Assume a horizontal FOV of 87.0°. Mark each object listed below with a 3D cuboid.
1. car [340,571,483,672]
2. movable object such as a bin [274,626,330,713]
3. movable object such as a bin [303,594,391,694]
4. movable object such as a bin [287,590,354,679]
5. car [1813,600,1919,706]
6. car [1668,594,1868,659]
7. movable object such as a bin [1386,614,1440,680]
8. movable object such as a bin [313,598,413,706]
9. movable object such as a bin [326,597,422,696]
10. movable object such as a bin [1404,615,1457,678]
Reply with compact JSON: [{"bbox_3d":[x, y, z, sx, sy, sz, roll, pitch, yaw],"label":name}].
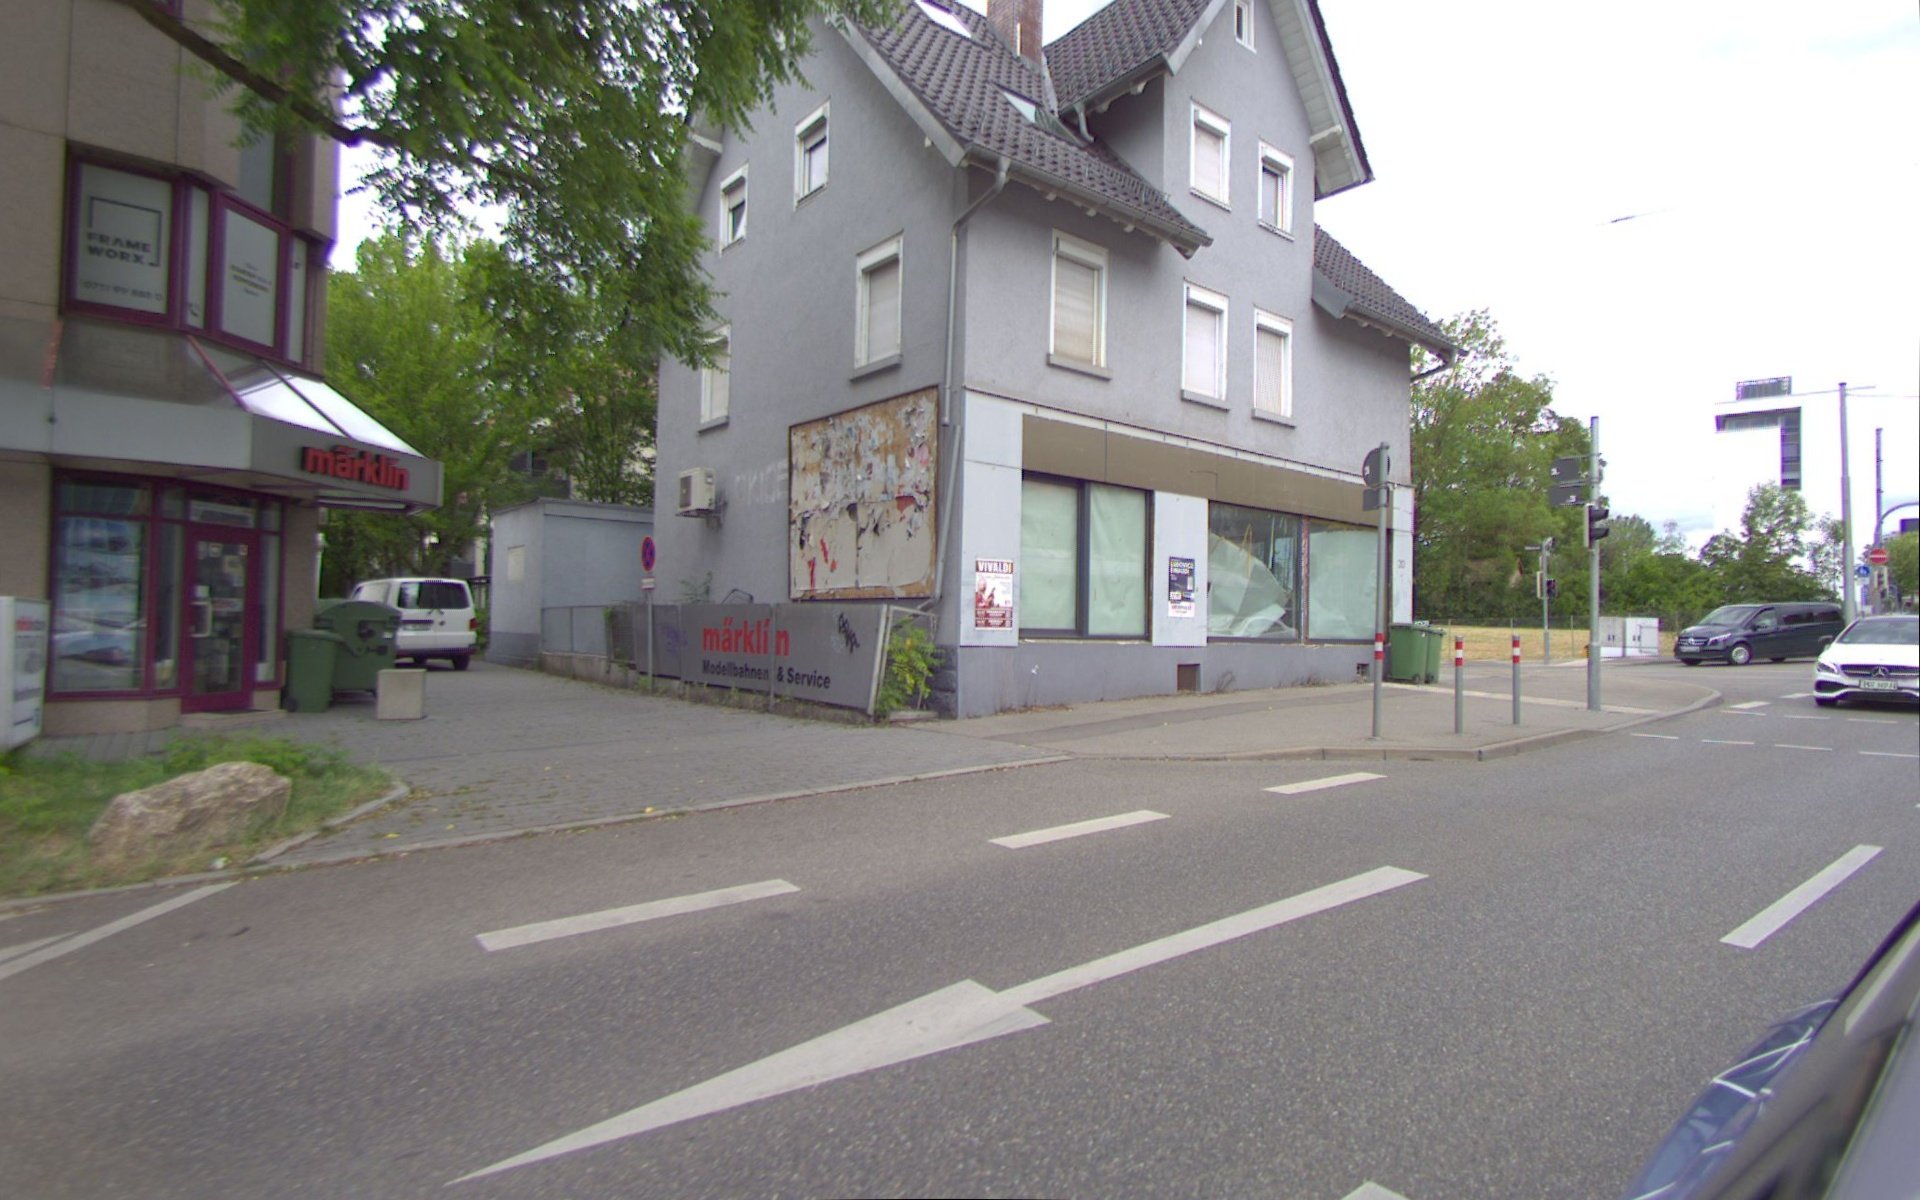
[{"bbox_3d":[-12.337,0.427,22.640,2.080,2.039,4.282,0,0,-39],"label":"car"},{"bbox_3d":[-8.542,0.891,13.136,0.550,1.080,0.489,1,-1,-40],"label":"movable object such as a bin"},{"bbox_3d":[-9.619,0.657,15.880,1.042,1.491,0.909,0,0,-40],"label":"movable object such as a bin"},{"bbox_3d":[-11.136,0.579,17.629,0.861,1.492,0.973,0,-1,-40],"label":"movable object such as a bin"},{"bbox_3d":[15.368,0.757,16.138,4.614,1.491,1.798,0,0,-38],"label":"car"},{"bbox_3d":[24.852,0.771,31.222,4.776,1.911,2.019,0,0,-7],"label":"car"},{"bbox_3d":[7.949,0.815,17.770,0.697,1.118,0.610,1,-1,-39],"label":"movable object such as a bin"},{"bbox_3d":[-8.341,0.684,14.131,1.067,1.431,0.886,0,0,-40],"label":"movable object such as a bin"},{"bbox_3d":[-8.908,0.677,15.388,1.130,1.431,0.907,0,0,-40],"label":"movable object such as a bin"},{"bbox_3d":[8.509,0.825,18.296,0.697,1.118,0.627,1,-1,-39],"label":"movable object such as a bin"}]
